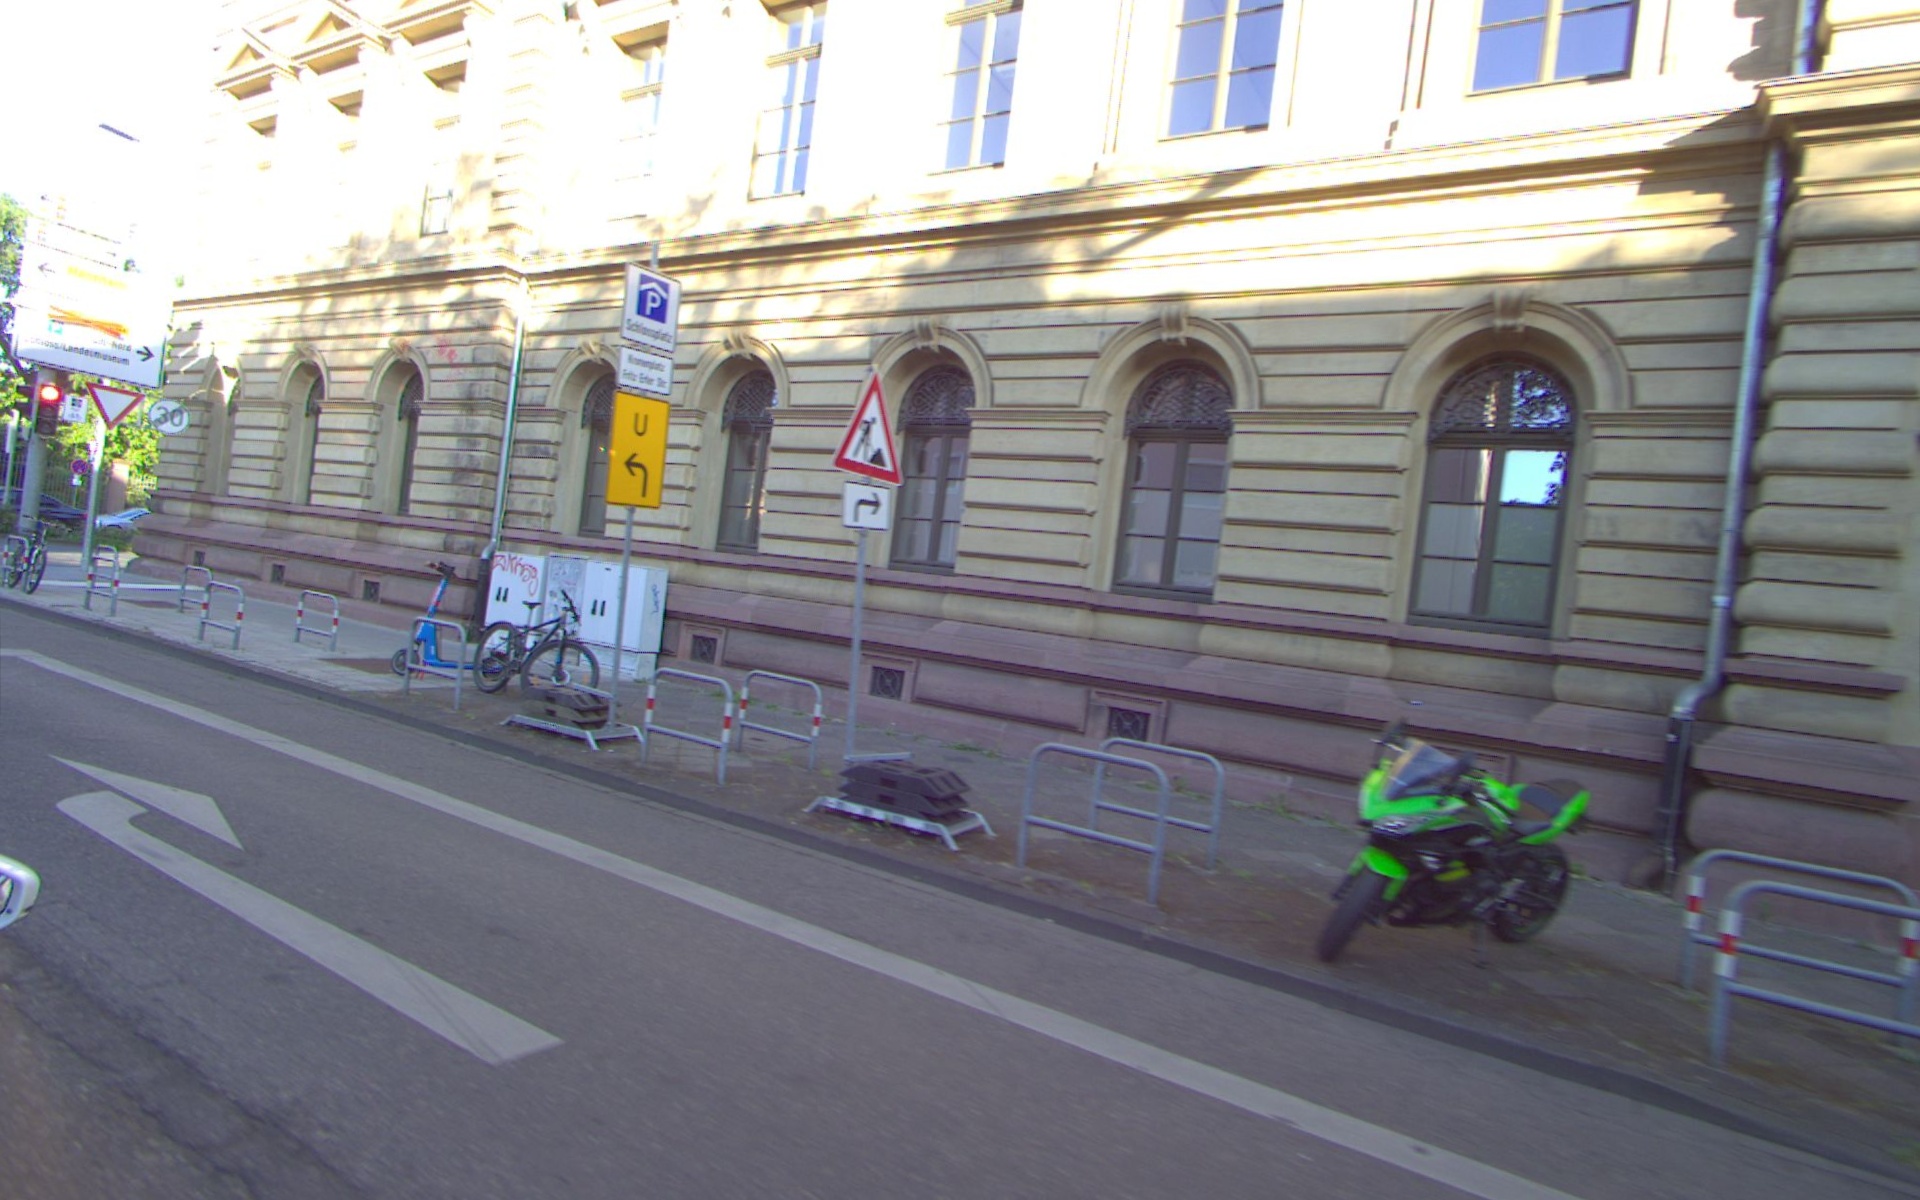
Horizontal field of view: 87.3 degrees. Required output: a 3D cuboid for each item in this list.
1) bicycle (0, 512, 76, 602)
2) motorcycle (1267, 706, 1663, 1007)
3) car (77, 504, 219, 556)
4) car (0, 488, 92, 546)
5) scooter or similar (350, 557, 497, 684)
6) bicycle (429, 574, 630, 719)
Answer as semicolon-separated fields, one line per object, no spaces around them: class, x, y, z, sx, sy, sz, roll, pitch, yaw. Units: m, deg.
bicycle;-13.846;-0.660;14.857;1.888;1.203;0.583;5;-1;32
motorcycle;2.673;1.255;5.249;2.080;1.231;0.704;5;2;-30
car;-33.651;-2.887;41.828;1.684;1.462;4.196;7;-1;26
car;-29.216;-2.667;30.197;1.755;1.477;4.422;7;0;21
scooter or similar;-5.703;0.234;10.727;0.575;1.210;1.130;7;0;38
bicycle;-4.317;0.428;10.048;1.912;1.149;0.827;7;3;32
